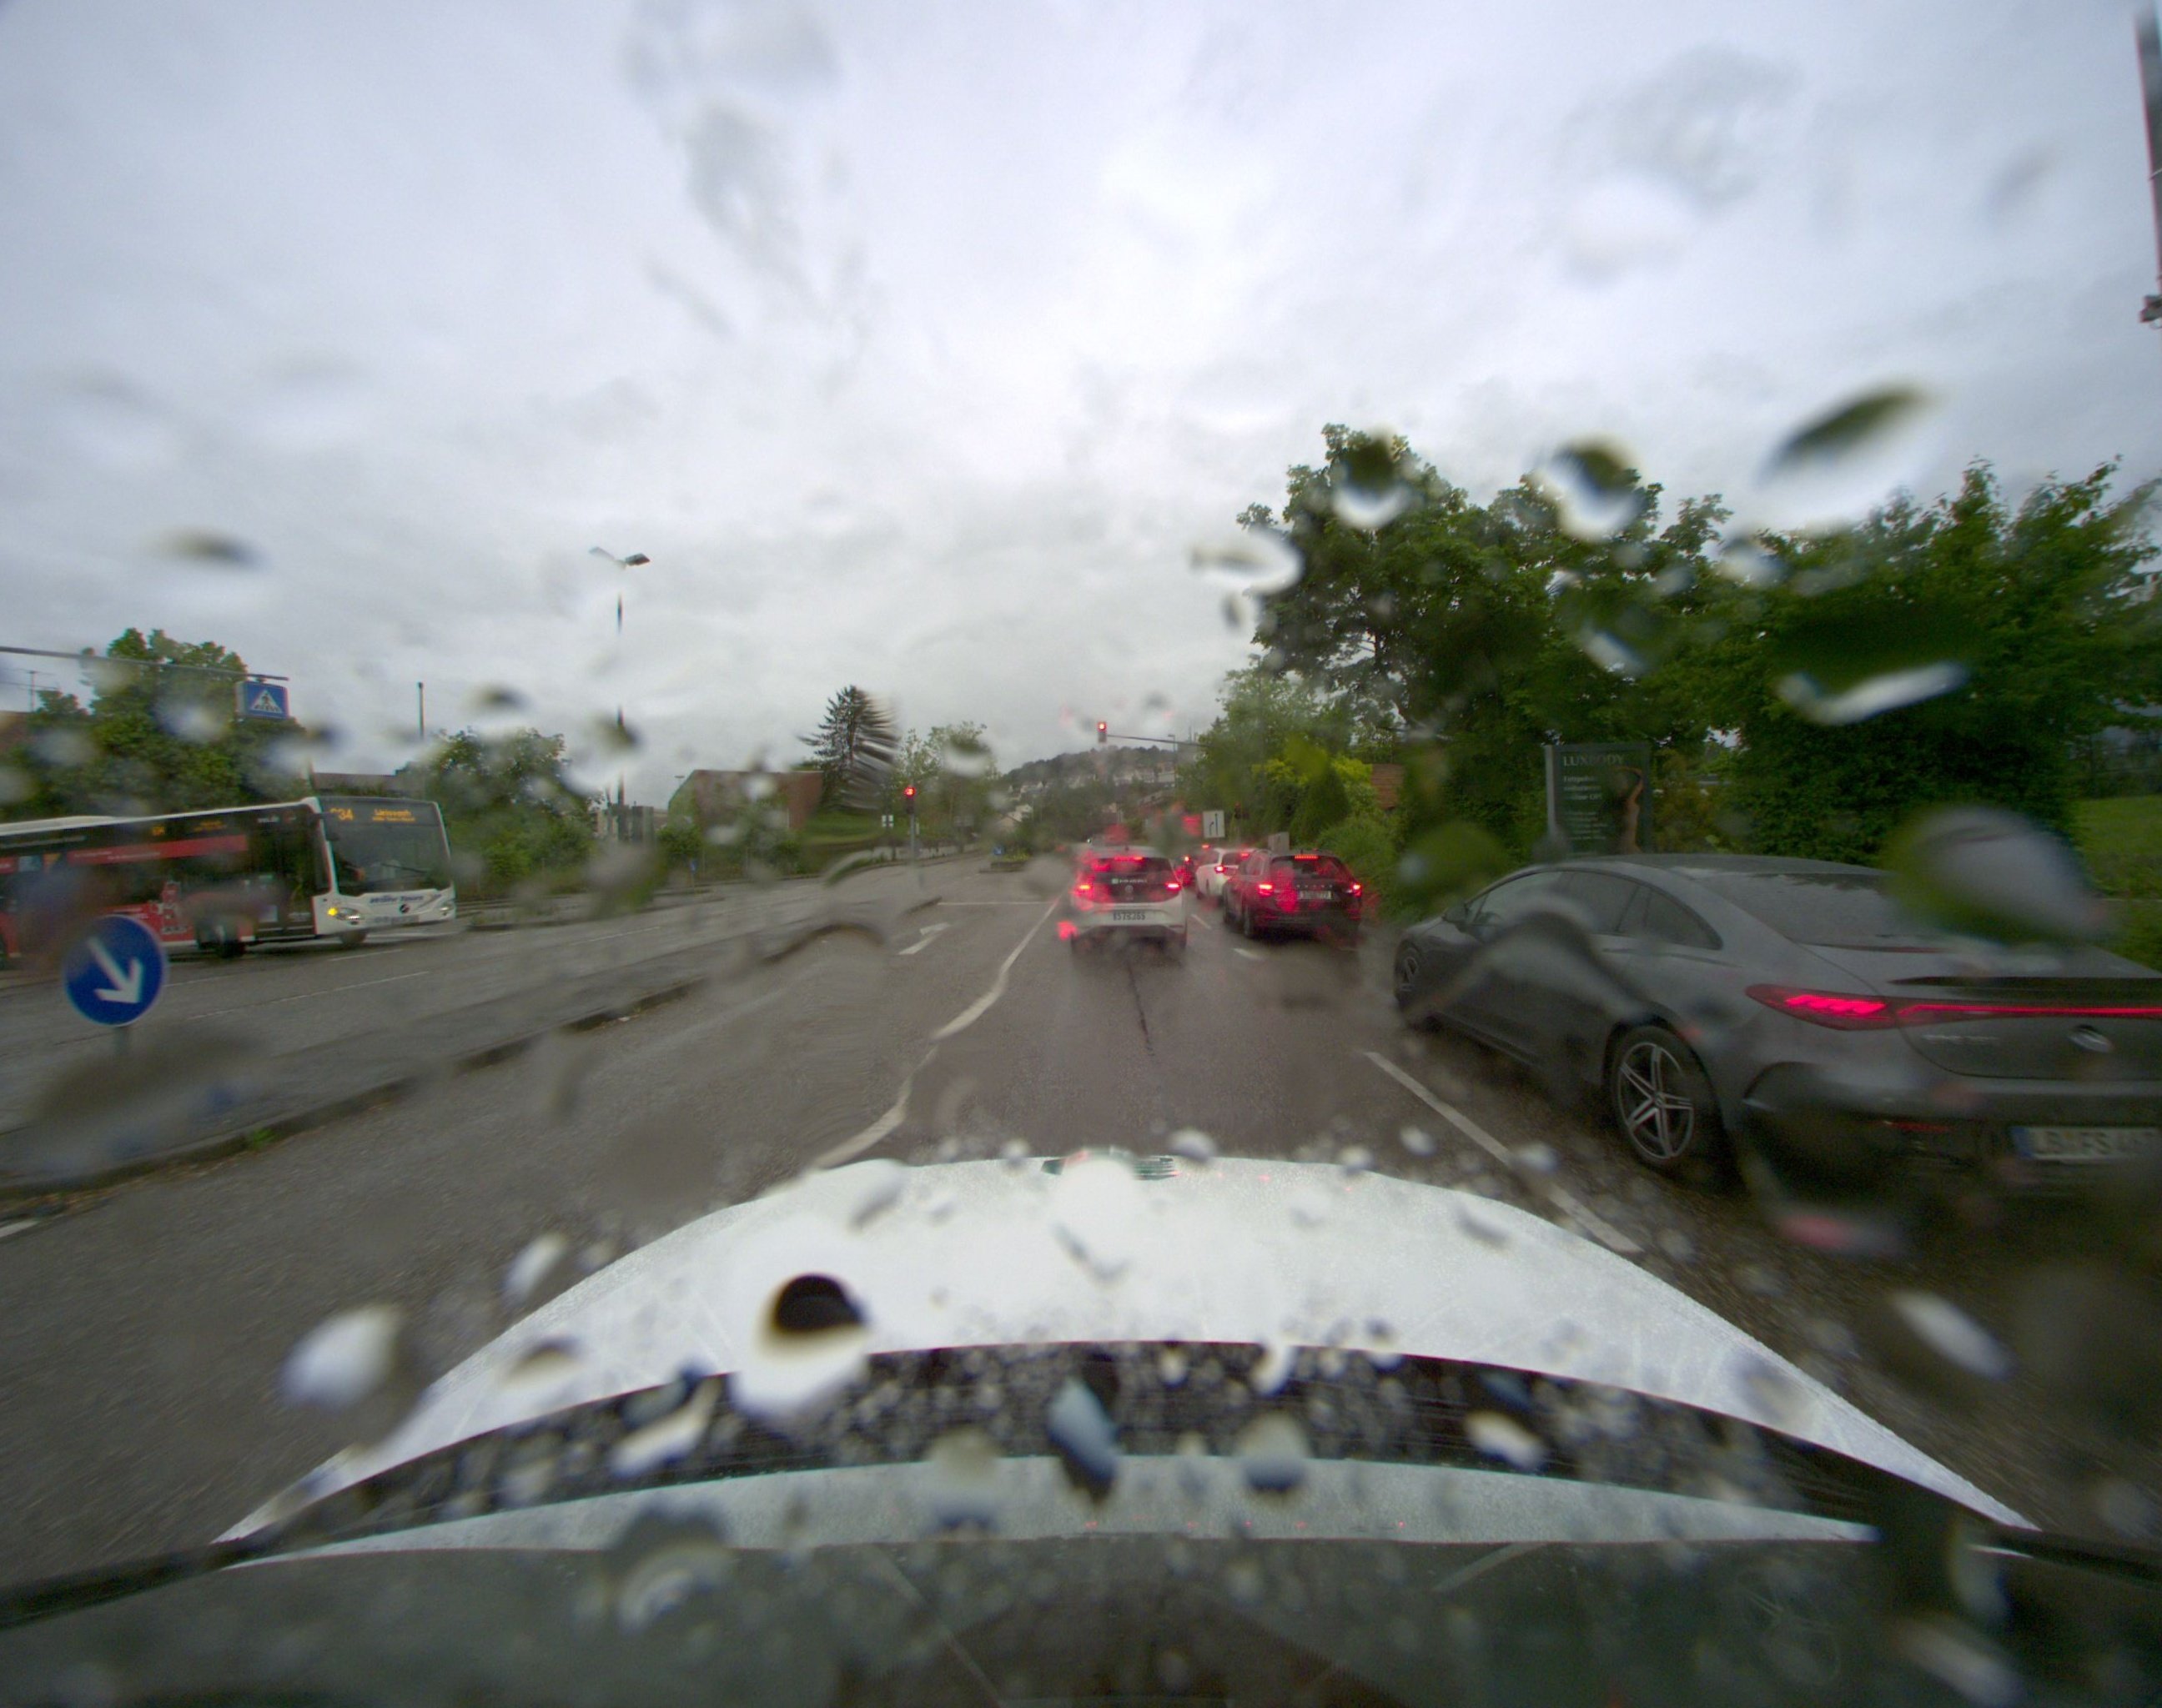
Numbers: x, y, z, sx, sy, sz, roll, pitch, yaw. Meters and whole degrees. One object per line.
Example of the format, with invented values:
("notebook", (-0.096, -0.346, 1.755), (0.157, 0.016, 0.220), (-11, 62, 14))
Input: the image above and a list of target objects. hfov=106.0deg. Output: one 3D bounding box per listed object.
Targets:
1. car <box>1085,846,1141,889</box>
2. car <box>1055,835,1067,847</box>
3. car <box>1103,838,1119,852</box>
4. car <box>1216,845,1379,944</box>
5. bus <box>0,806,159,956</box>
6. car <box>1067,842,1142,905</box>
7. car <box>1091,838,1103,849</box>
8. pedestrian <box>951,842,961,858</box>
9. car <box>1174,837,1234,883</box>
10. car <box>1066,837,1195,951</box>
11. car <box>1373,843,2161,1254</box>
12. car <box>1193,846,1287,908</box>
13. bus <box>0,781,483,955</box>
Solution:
("car", (1.094, 0.418, 28.484), (1.831, 1.400, 3.832), (0, 1, 1))
("car", (-3.648, -2.382, 147.649), (1.986, 2.014, 4.002), (0, -1, 2))
("car", (3.539, -1.024, 96.736), (1.769, 1.581, 4.002), (-3, 0, 2))
("car", (3.609, 0.584, 14.403), (1.831, 1.466, 4.351), (0, 1, 1))
("bus", (-26.892, 0.716, 17.964), (9.318, 3.114, 2.782), (-2, 0, -4))
("car", (0.636, 0.444, 22.199), (1.831, 1.554, 4.176), (0, 1, 1))
("car", (2.469, -1.553, 125.455), (1.769, 1.581, 4.002), (-3, 0, 2))
("pedestrian", (-12.594, -0.440, 81.981), (0.757, 1.568, 0.825), (-4, 0, 1))
("car", (4.497, 0.195, 30.287), (1.768, 1.581, 4.002), (0, 0, 2))
("car", (0.770, 0.543, 13.952), (1.831, 1.629, 4.617), (0, 1, 1))
("car", (3.626, 0.665, 5.325), (1.831, 1.466, 4.810), (0, 1, 1))
("car", (4.141, 0.546, 21.860), (1.831, 1.466, 4.118), (0, 1, 1))
("bus", (-17.707, 0.346, 17.147), (8.800, 3.114, 2.808), (-2, 0, 10))
